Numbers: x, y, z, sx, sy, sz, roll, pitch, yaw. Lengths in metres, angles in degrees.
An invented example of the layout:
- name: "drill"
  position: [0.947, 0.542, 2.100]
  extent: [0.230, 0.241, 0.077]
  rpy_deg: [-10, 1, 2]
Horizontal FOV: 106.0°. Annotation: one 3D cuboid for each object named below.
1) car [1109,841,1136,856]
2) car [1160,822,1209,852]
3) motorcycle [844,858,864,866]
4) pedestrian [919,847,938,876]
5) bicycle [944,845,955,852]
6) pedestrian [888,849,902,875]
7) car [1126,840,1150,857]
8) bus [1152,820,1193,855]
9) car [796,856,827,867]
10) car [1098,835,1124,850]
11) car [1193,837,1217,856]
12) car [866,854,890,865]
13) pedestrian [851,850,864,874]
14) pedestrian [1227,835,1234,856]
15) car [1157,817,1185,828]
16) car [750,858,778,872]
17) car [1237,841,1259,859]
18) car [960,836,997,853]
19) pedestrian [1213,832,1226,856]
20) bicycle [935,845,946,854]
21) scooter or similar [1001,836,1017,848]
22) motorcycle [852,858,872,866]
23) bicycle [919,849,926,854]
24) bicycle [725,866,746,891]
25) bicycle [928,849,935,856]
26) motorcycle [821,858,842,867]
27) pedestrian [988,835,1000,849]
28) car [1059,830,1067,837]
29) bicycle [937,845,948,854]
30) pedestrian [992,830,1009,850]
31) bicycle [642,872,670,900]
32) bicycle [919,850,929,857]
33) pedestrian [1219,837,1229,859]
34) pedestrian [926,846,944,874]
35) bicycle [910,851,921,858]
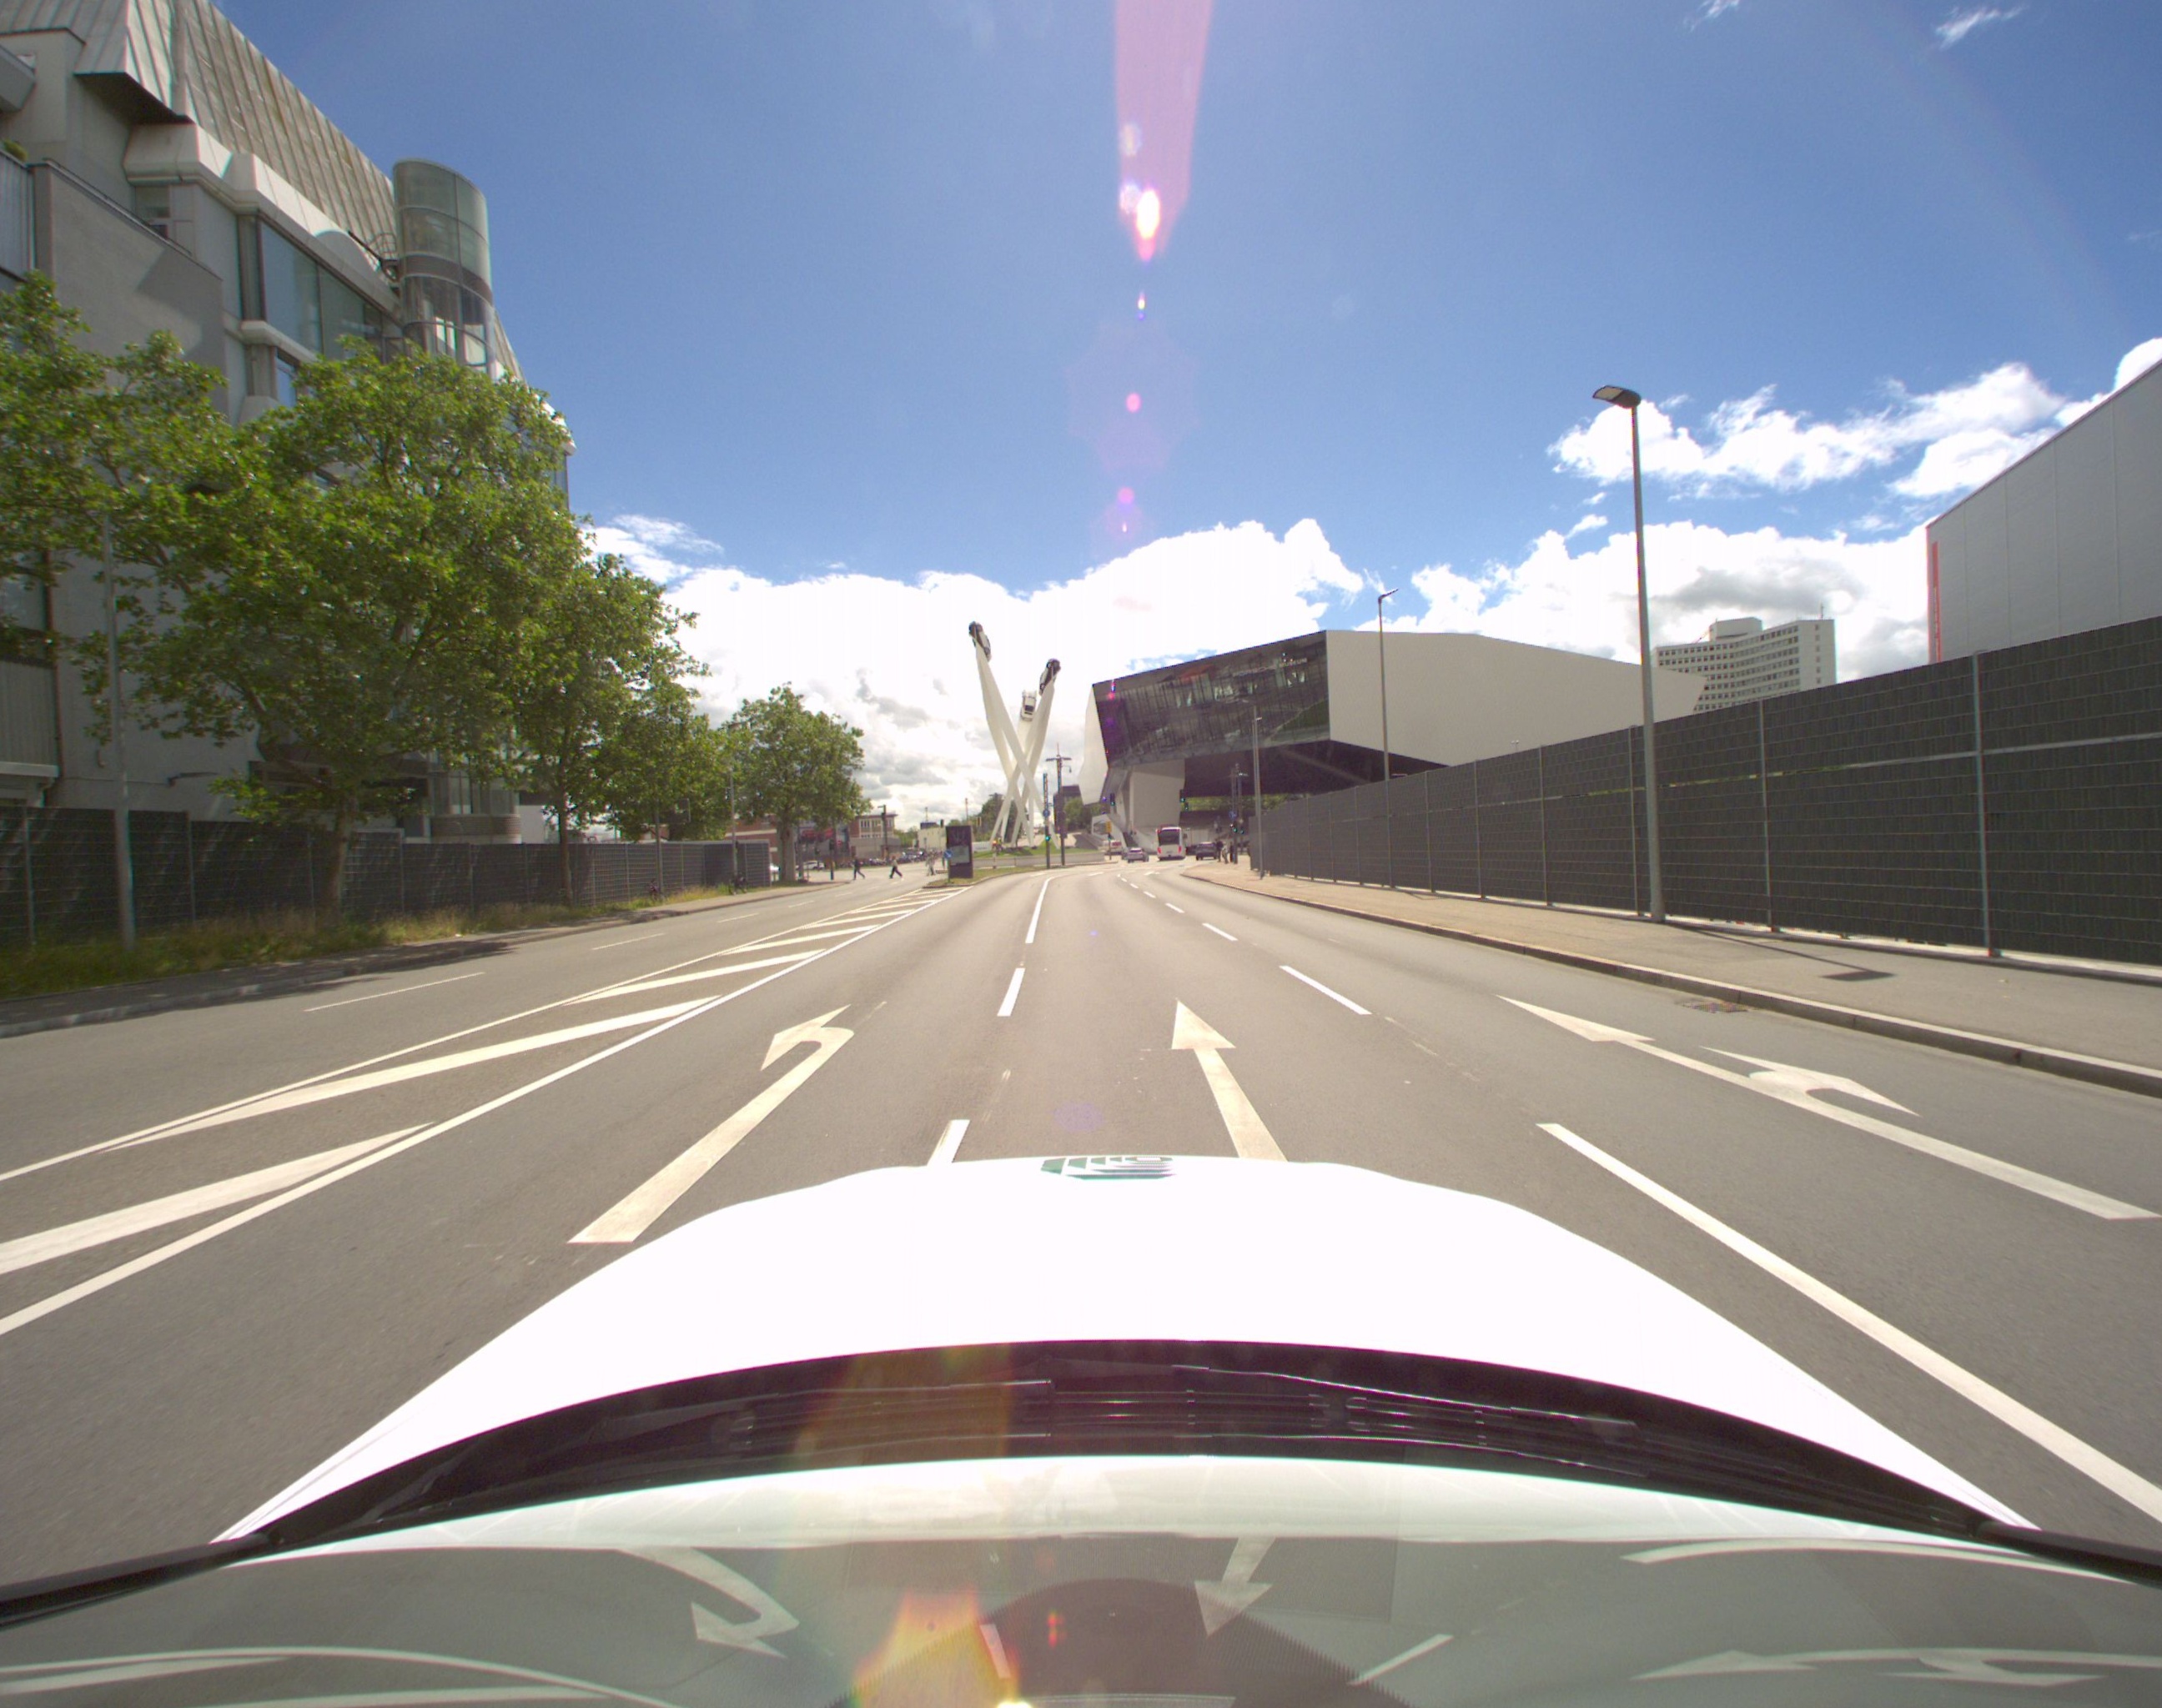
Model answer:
- name: "car"
  position: [5.036, -0.665, 99.596]
  extent: [2.000, 1.636, 3.974]
  rpy_deg: [-1, 0, -19]
- name: "car"
  position: [12.894, -2.055, 102.479]
  extent: [3.338, 3.504, 9.304]
  rpy_deg: [-1, 0, -12]
- name: "motorcycle"
  position: [-35.515, 1.213, 127.210]
  extent: [2.881, 1.196, 0.924]
  rpy_deg: [-1, 0, 16]
- name: "pedestrian"
  position: [-11.055, 0.565, 59.050]
  extent: [0.945, 2.055, 0.955]
  rpy_deg: [-1, 0, 17]
- name: "bicycle"
  position: [-22.360, -0.962, 138.364]
  extent: [1.733, 1.182, 0.669]
  rpy_deg: [-1, 1, -3]
- name: "pedestrian"
  position: [-13.245, 0.575, 57.911]
  extent: [0.865, 1.773, 1.030]
  rpy_deg: [-1, 0, -15]
- name: "car"
  position: [5.829, -0.528, 82.908]
  extent: [1.981, 1.636, 4.012]
  rpy_deg: [-1, 0, 11]
- name: "bus"
  position: [9.855, -1.605, 86.152]
  extent: [3.051, 3.362, 12.264]
  rpy_deg: [-1, 0, 12]
- name: "car"
  position: [-39.804, 1.147, 120.316]
  extent: [3.955, 1.500, 2.009]
  rpy_deg: [-1, 0, 18]
- name: "car"
  position: [4.124, -1.561, 112.044]
  extent: [2.002, 1.904, 3.969]
  rpy_deg: [-1, 0, -23]
- name: "car"
  position: [11.327, -0.658, 74.110]
  extent: [1.981, 1.636, 4.013]
  rpy_deg: [-1, 1, 11]
- name: "car"
  position: [-33.717, 0.880, 135.406]
  extent: [3.447, 1.804, 1.711]
  rpy_deg: [-1, 0, 14]
- name: "pedestrian"
  position: [-16.537, 0.604, 60.311]
  extent: [0.865, 1.773, 1.030]
  rpy_deg: [-1, 0, -15]
- name: "pedestrian"
  position: [11.645, -0.662, 63.412]
  extent: [0.462, 1.615, 0.663]
  rpy_deg: [-1, 0, 1]
- name: "car"
  position: [14.878, -5.264, 134.779]
  extent: [4.458, 1.394, 2.013]
  rpy_deg: [8, 11, 44]
- name: "car"
  position: [-39.979, 1.384, 102.712]
  extent: [1.923, 1.796, 3.729]
  rpy_deg: [-1, 0, -44]
- name: "car"
  position: [16.250, -0.396, 79.441]
  extent: [1.981, 1.636, 4.012]
  rpy_deg: [-1, 0, 11]
- name: "car"
  position: [-13.981, -1.278, 110.864]
  extent: [4.618, 2.171, 2.003]
  rpy_deg: [-1, 0, 4]
- name: "pedestrian"
  position: [10.927, -0.750, 64.210]
  extent: [0.661, 1.866, 0.789]
  rpy_deg: [-1, 0, -16]
- name: "bicycle"
  position: [-22.295, -0.699, 129.339]
  extent: [1.602, 1.316, 0.492]
  rpy_deg: [-1, 0, -3]
- name: "scooter or similar"
  position: [-7.057, -1.215, 79.925]
  extent: [1.406, 1.025, 0.546]
  rpy_deg: [-6, 7, -21]
- name: "motorcycle"
  position: [-34.858, 1.226, 129.686]
  extent: [2.881, 1.196, 0.924]
  rpy_deg: [-1, 0, 16]
- name: "bicycle"
  position: [-25.811, -0.403, 132.679]
  extent: [0.488, 0.866, 1.615]
  rpy_deg: [-3, 2, 9]
- name: "bicycle"
  position: [-16.274, 1.132, 38.372]
  extent: [0.295, 1.131, 1.485]
  rpy_deg: [-1, 0, 1]
- name: "bicycle"
  position: [-23.273, -0.235, 126.568]
  extent: [0.488, 0.866, 1.616]
  rpy_deg: [-3, 3, 9]
- name: "motorcycle"
  position: [-37.723, 1.281, 123.052]
  extent: [2.881, 1.196, 0.924]
  rpy_deg: [-1, 0, 16]
- name: "pedestrian"
  position: [-9.777, -1.320, 91.421]
  extent: [0.846, 1.406, 0.970]
  rpy_deg: [-8, -3, 20]
- name: "car"
  position: [-4.374, -5.032, 200.059]
  extent: [1.987, 1.635, 4.656]
  rpy_deg: [-1, 2, 0]
- name: "bicycle"
  position: [-22.225, -0.737, 130.832]
  extent: [1.602, 1.382, 0.492]
  rpy_deg: [-1, 0, -3]
- name: "pedestrian"
  position: [-7.867, -1.337, 79.478]
  extent: [1.285, 1.816, 0.981]
  rpy_deg: [-7, 5, -18]
- name: "bicycle"
  position: [-16.649, 1.244, 31.924]
  extent: [0.295, 1.005, 1.255]
  rpy_deg: [-1, 0, 9]
- name: "bicycle"
  position: [-23.963, -0.043, 124.150]
  extent: [0.486, 0.866, 1.621]
  rpy_deg: [-1, 4, 26]
- name: "pedestrian"
  position: [10.601, -0.424, 60.419]
  extent: [0.655, 1.608, 0.825]
  rpy_deg: [-1, 0, 9]
- name: "pedestrian"
  position: [-10.733, 0.417, 60.010]
  extent: [0.945, 2.055, 0.955]
  rpy_deg: [-1, 0, 17]
- name: "bicycle"
  position: [-24.926, 0.091, 122.560]
  extent: [0.486, 0.866, 1.622]
  rpy_deg: [-1, 3, 39]
